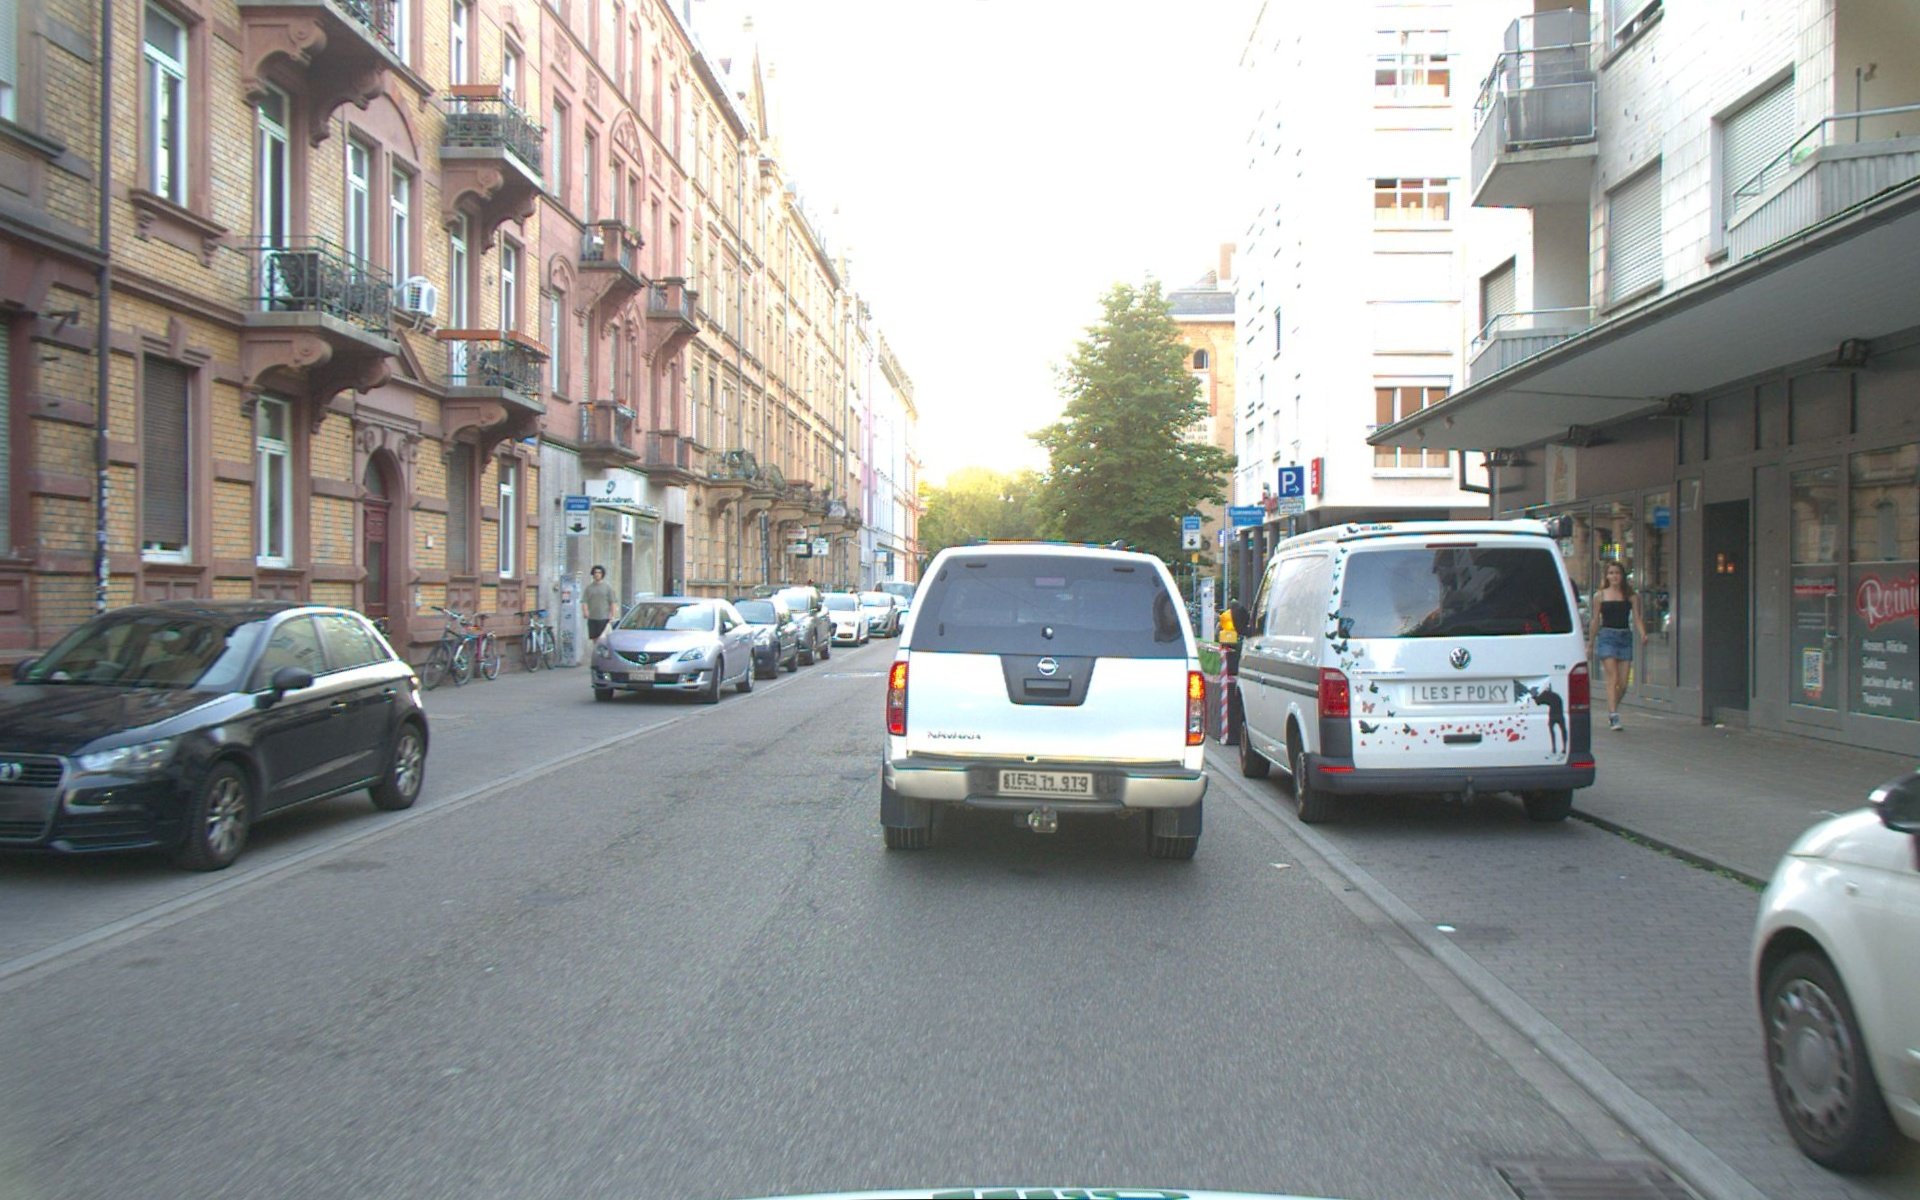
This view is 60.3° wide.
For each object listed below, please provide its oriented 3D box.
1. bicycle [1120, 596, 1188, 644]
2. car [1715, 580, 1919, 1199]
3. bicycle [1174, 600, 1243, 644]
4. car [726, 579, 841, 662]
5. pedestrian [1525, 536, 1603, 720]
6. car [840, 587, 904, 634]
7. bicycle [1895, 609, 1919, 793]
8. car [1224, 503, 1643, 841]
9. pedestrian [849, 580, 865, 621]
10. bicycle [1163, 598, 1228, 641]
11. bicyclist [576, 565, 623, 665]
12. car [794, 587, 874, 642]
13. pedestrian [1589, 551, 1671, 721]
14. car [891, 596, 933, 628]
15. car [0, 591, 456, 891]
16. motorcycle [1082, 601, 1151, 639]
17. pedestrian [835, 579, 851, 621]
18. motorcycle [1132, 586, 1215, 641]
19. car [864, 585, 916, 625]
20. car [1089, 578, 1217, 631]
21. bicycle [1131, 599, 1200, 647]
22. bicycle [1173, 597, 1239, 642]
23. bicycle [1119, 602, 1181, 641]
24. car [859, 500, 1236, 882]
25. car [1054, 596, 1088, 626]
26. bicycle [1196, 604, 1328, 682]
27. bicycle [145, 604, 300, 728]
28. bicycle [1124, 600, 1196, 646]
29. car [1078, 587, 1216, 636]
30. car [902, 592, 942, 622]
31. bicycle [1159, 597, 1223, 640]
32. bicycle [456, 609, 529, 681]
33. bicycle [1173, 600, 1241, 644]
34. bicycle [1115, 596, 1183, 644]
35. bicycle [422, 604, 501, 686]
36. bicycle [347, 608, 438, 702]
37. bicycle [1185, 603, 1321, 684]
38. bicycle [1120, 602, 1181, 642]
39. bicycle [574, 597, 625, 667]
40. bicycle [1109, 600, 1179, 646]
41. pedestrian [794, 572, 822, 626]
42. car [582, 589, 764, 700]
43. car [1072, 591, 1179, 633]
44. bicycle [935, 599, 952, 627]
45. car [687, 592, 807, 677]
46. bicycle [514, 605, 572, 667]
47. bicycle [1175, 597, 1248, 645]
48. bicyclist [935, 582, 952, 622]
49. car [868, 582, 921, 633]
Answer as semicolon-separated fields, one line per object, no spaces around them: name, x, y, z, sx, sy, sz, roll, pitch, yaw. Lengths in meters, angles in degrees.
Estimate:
bicycle;5.385;0.550;45.920;1.750;1.202;0.734;-4;-1;13
car;3.103;0.698;3.328;1.560;1.527;3.423;-2;0;0
bicycle;6.406;0.564;42.668;1.686;1.072;0.654;-2;-1;5
car;-3.745;0.395;35.768;1.814;1.662;4.447;1;1;2
pedestrian;6.314;0.298;17.290;0.694;1.860;0.861;-2;-1;20
car;-2.934;0.333;55.823;1.681;1.483;4.002;2;0;3
bicycle;6.909;0.645;10.365;0.894;1.216;1.706;-2;0;-11
car;3.298;0.421;12.634;1.918;2.008;5.004;-2;0;3
pedestrian;-4.543;0.023;73.285;0.593;1.803;0.777;3;1;-2
bicycle;6.560;0.533;46.147;1.687;1.137;0.653;-2;-1;-1
bicyclist;-6.497;0.276;29.791;0.697;1.760;0.838;1;-1;-19
car;-3.489;0.372;46.498;1.721;1.436;4.510;1;1;2
pedestrian;6.895;0.371;17.051;0.694;1.695;0.745;-2;-1;19
car;-2.242;0.572;78.251;1.701;1.443;4.779;2;0;2
car;-4.665;0.689;10.174;1.658;1.445;3.857;1;0;5
motorcycle;4.890;0.624;51.837;2.022;1.097;0.661;-2;-1;-14
pedestrian;-5.155;0.009;73.064;0.568;1.802;0.997;3;1;-2
motorcycle;6.565;0.410;50.874;2.439;1.576;0.824;-2;-1;5
car;-2.670;0.183;63.704;1.747;1.447;4.485;2;0;0
car;6.805;0.157;58.645;4.307;1.676;1.747;-2;0;2
bicycle;5.236;0.588;42.108;1.686;1.137;0.707;-2;-1;5
bicycle;6.611;0.521;44.492;1.686;1.137;0.654;-2;-1;5
bicycle;5.587;0.637;48.747;1.735;1.040;0.565;-4;-1;5
car;0.598;0.470;11.022;1.871;1.885;5.272;1;0;3
car;5.929;0.570;88.619;1.641;1.453;4.480;-4;0;3
bicycle;4.685;0.682;25.747;1.908;1.154;0.654;-3;-1;40
bicycle;-7.706;0.657;17.385;0.516;1.191;2.049;2;0;5
bicycle;5.286;0.608;43.758;1.772;1.137;0.707;-2;-1;0
car;6.293;0.386;55.896;4.336;1.481;1.778;-2;0;-4
car;-1.963;0.366;87.106;1.796;1.483;4.208;3;0;2
bicycle;6.535;0.517;46.870;1.687;1.137;0.653;-2;-1;-1
bicycle;-7.400;0.692;26.226;0.537;1.055;1.760;3;1;3
bicycle;6.467;0.571;43.338;1.686;1.072;0.654;-2;-1;5
bicycle;5.350;0.564;46.764;1.829;1.202;0.743;-4;-1;7
bicycle;-7.461;0.649;24.824;0.537;1.143;1.760;3;1;3
bicycle;-7.429;0.702;21.714;0.723;1.143;1.609;1;0;-4
bicycle;4.376;0.663;24.816;1.908;1.154;0.654;-3;-1;40
bicycle;5.549;0.636;48.128;1.683;1.049;0.668;-4;-1;5
bicycle;-6.497;0.578;29.757;0.697;1.217;1.732;1;-1;-19
bicycle;4.775;0.598;42.986;1.687;1.137;0.707;-2;-1;0
pedestrian;-5.085;-0.020;55.341;0.542;1.786;1.023;0;-1;17
car;-4.088;0.596;24.298;1.687;1.445;4.583;1;0;2
car;6.371;0.461;63.834;3.905;1.481;1.828;-2;0;0
bicycle;-0.678;0.543;69.076;0.631;1.100;2.169;-2;0;1
car;-3.879;0.588;30.628;1.552;1.445;3.698;1;1;3
bicycle;-7.471;0.622;29.685;0.440;1.040;1.848;3;0;3
bicycle;6.332;0.529;41.644;1.691;1.151;0.577;-2;-1;-10
bicyclist;-0.683;0.091;69.090;0.631;1.649;0.918;-2;0;1
car;-2.677;0.301;68.819;1.952;1.957;4.951;2;0;0
